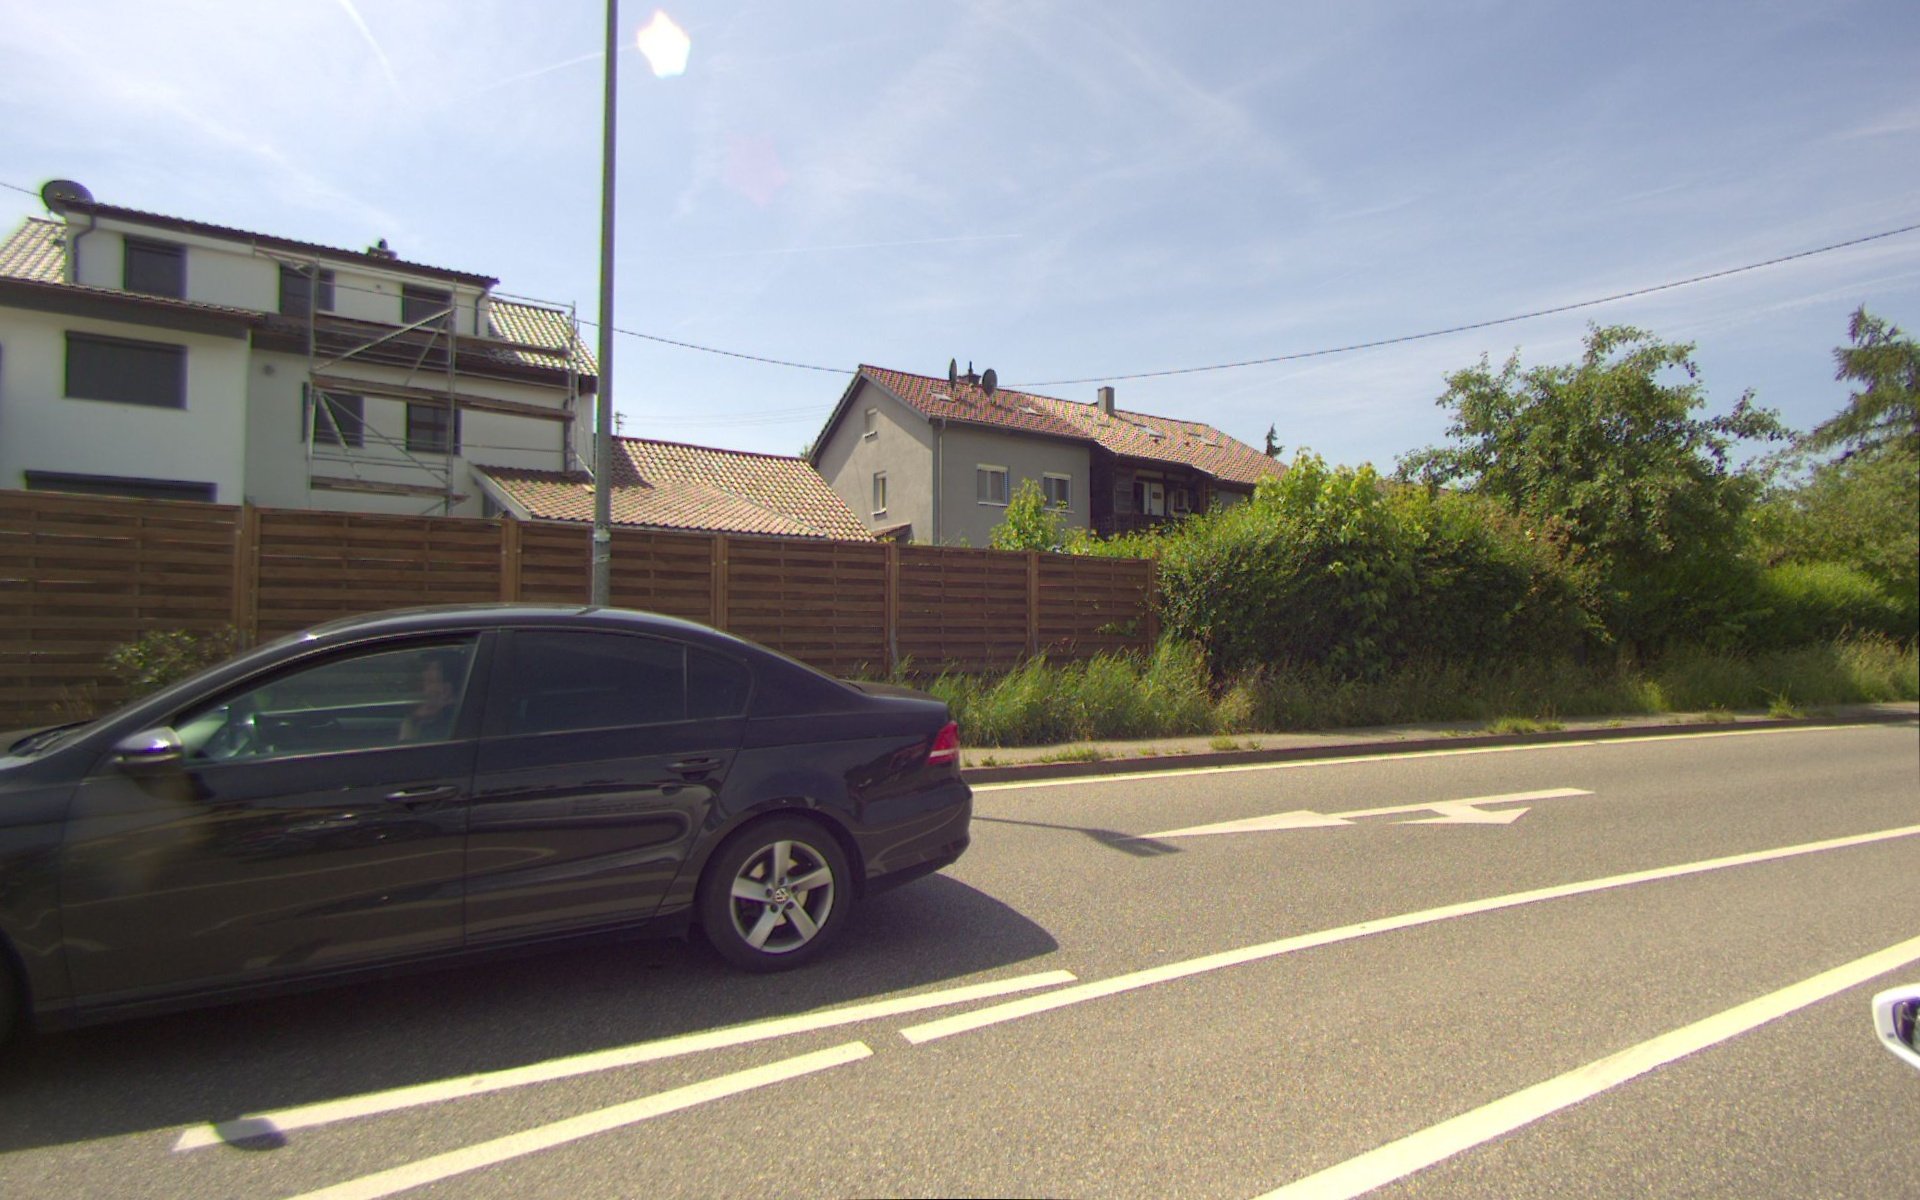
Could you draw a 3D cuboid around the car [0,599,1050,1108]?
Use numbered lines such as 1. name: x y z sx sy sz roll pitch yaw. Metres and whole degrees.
1. car: -2.019 0.733 4.236 4.557 1.436 1.807 1 0 -29
